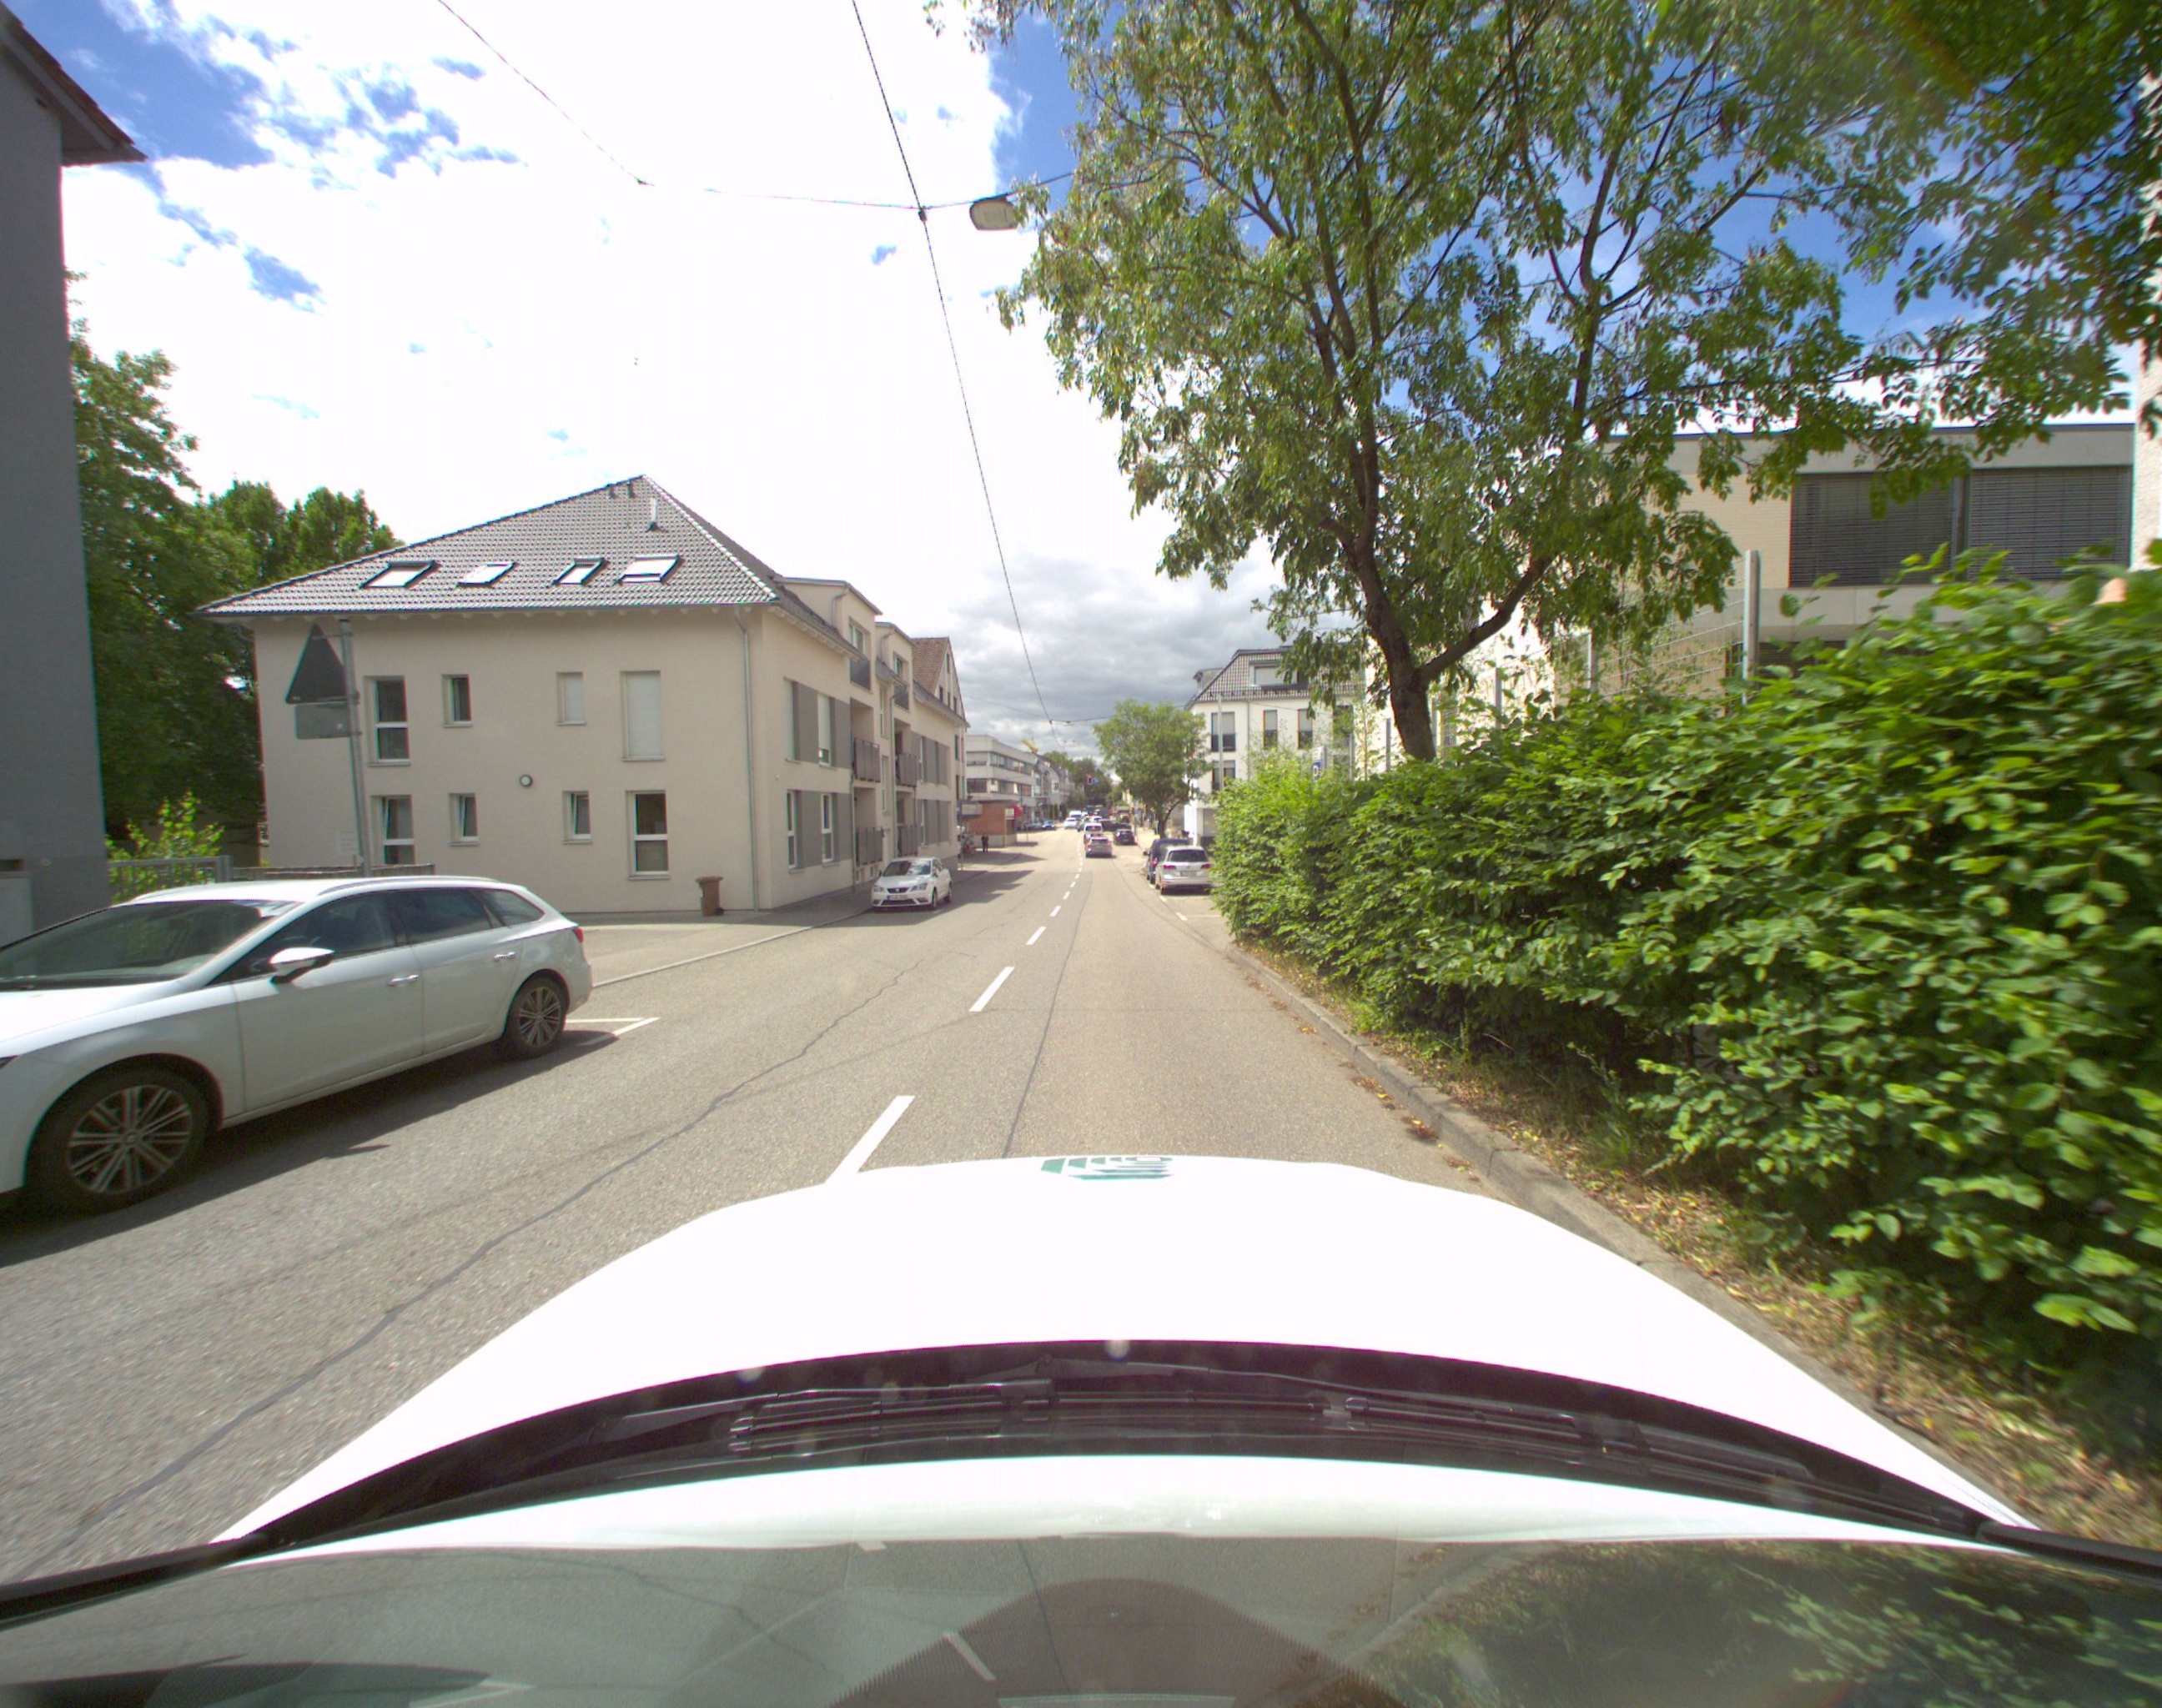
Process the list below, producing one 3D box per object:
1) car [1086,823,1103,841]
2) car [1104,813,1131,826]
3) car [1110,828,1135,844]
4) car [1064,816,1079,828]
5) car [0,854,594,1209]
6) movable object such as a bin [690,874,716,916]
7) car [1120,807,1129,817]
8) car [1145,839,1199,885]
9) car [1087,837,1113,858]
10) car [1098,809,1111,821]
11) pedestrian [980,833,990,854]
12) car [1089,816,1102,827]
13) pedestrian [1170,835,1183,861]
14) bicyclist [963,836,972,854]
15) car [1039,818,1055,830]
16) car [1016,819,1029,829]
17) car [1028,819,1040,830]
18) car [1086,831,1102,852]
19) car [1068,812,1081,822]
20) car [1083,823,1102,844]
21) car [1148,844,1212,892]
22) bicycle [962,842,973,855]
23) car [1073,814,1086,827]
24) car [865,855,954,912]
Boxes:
[{"bbox_3d":[1.465,-2.382,88.648,1.830,1.861,3.852,0,1,1],"label":"car"},{"bbox_3d":[4.952,-4.723,110.842,3.681,1.614,1.557,0,1,-42],"label":"car"},{"bbox_3d":[3.754,-1.662,74.103,1.750,1.370,3.995,-1,3,-5],"label":"car"},{"bbox_3d":[-1.450,-4.700,120.886,1.865,1.640,4.005,1,1,4],"label":"car"},{"bbox_3d":[-5.153,0.730,5.126,1.690,1.390,3.869,-1,1,2],"label":"car"},{"bbox_3d":[-8.817,0.942,19.018,0.412,0.953,0.391,-1,0,-2],"label":"movable object such as a bin"},{"bbox_3d":[9.140,-8.893,171.808,1.795,2.013,4.002,-1,1,1],"label":"car"},{"bbox_3d":[3.657,0.272,33.501,1.837,1.767,4.517,0,1,1],"label":"car"},{"bbox_3d":[1.382,-0.504,58.481,1.738,1.416,4.002,-1,1,1],"label":"car"},{"bbox_3d":[4.521,-7.567,158.389,2.427,2.318,5.329,1,2,1],"label":"car"},{"bbox_3d":[-7.565,-0.834,64.016,0.625,1.602,0.564,0,1,6],"label":"pedestrian"},{"bbox_3d":[2.368,-5.149,130.286,1.881,1.508,4.002,-2,1,2],"label":"car"},{"bbox_3d":[5.960,-0.387,50.955,0.734,1.647,0.616,-1,0,-1],"label":"pedestrian"},{"bbox_3d":[-8.055,-0.643,57.772,0.456,1.178,0.625,-1,3,1],"label":"bicyclist"},{"bbox_3d":[-4.882,-4.257,117.601,1.865,1.640,4.005,1,1,4],"label":"car"},{"bbox_3d":[-8.331,-4.280,116.742,1.546,1.376,3.400,-1,1,1],"label":"car"},{"bbox_3d":[-7.041,-4.454,122.142,1.379,1.540,3.400,-1,1,1],"label":"car"},{"bbox_3d":[1.070,-1.075,67.231,1.269,1.527,3.052,-1,4,1],"label":"car"},{"bbox_3d":[-1.130,-6.137,135.663,1.865,1.640,4.004,-1,1,4],"label":"car"},{"bbox_3d":[1.112,-1.973,77.995,1.830,1.861,3.853,0,3,1],"label":"car"},{"bbox_3d":[3.321,0.415,27.906,1.779,1.509,4.366,0,1,1],"label":"car"},{"bbox_3d":[-8.071,-0.397,57.779,0.465,0.861,1.778,1,3,1],"label":"bicycle"},{"bbox_3d":[-0.143,-4.393,107.061,1.630,1.656,3.852,0,1,1],"label":"car"},{"bbox_3d":[-4.729,0.760,22.978,1.641,1.418,3.700,0,1,1],"label":"car"}]
